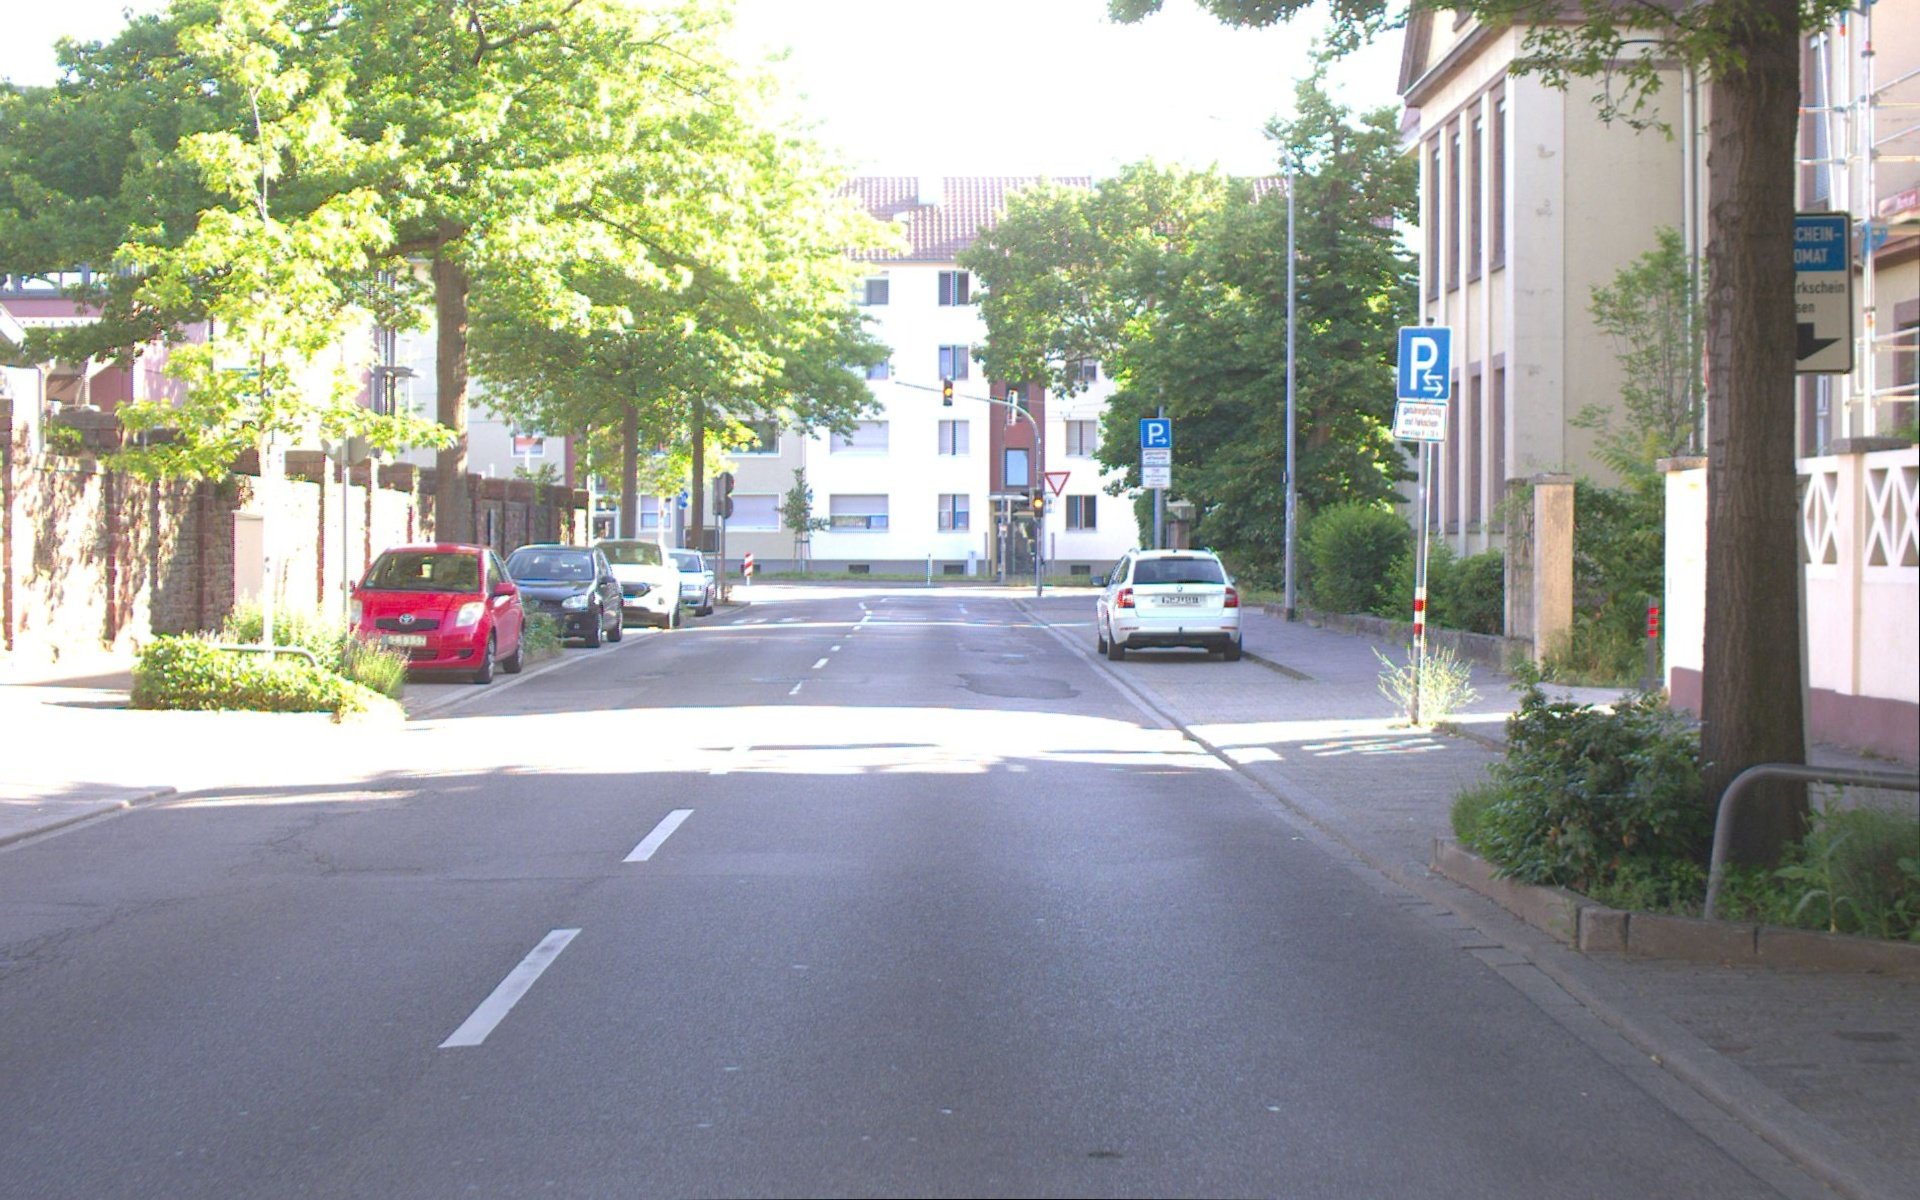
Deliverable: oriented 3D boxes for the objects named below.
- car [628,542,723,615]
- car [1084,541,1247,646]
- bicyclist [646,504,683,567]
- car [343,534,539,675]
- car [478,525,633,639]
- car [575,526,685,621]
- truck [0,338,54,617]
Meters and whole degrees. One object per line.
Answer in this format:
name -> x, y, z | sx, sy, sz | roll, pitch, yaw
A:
car -> -6.173, -0.498, 74.955 | 1.726, 1.470, 4.478 | 2, 1, -1
car -> 2.721, -0.124, 46.308 | 1.832, 1.318, 4.496 | -1, 1, -1
bicyclist -> -8.247, -1.811, 95.971 | 0.787, 1.751, 0.612 | 0, 1, -41
car -> -5.791, 0.014, 38.725 | 1.609, 1.454, 3.708 | 2, 1, 0
car -> -6.059, -0.306, 51.832 | 1.737, 1.587, 4.107 | 2, 1, 1
car -> -5.973, -0.508, 62.567 | 1.720, 1.678, 4.351 | 0, 1, -2
truck -> -14.092, -1.640, 44.572 | 2.732, 3.698, 7.429 | 2, 1, -1
